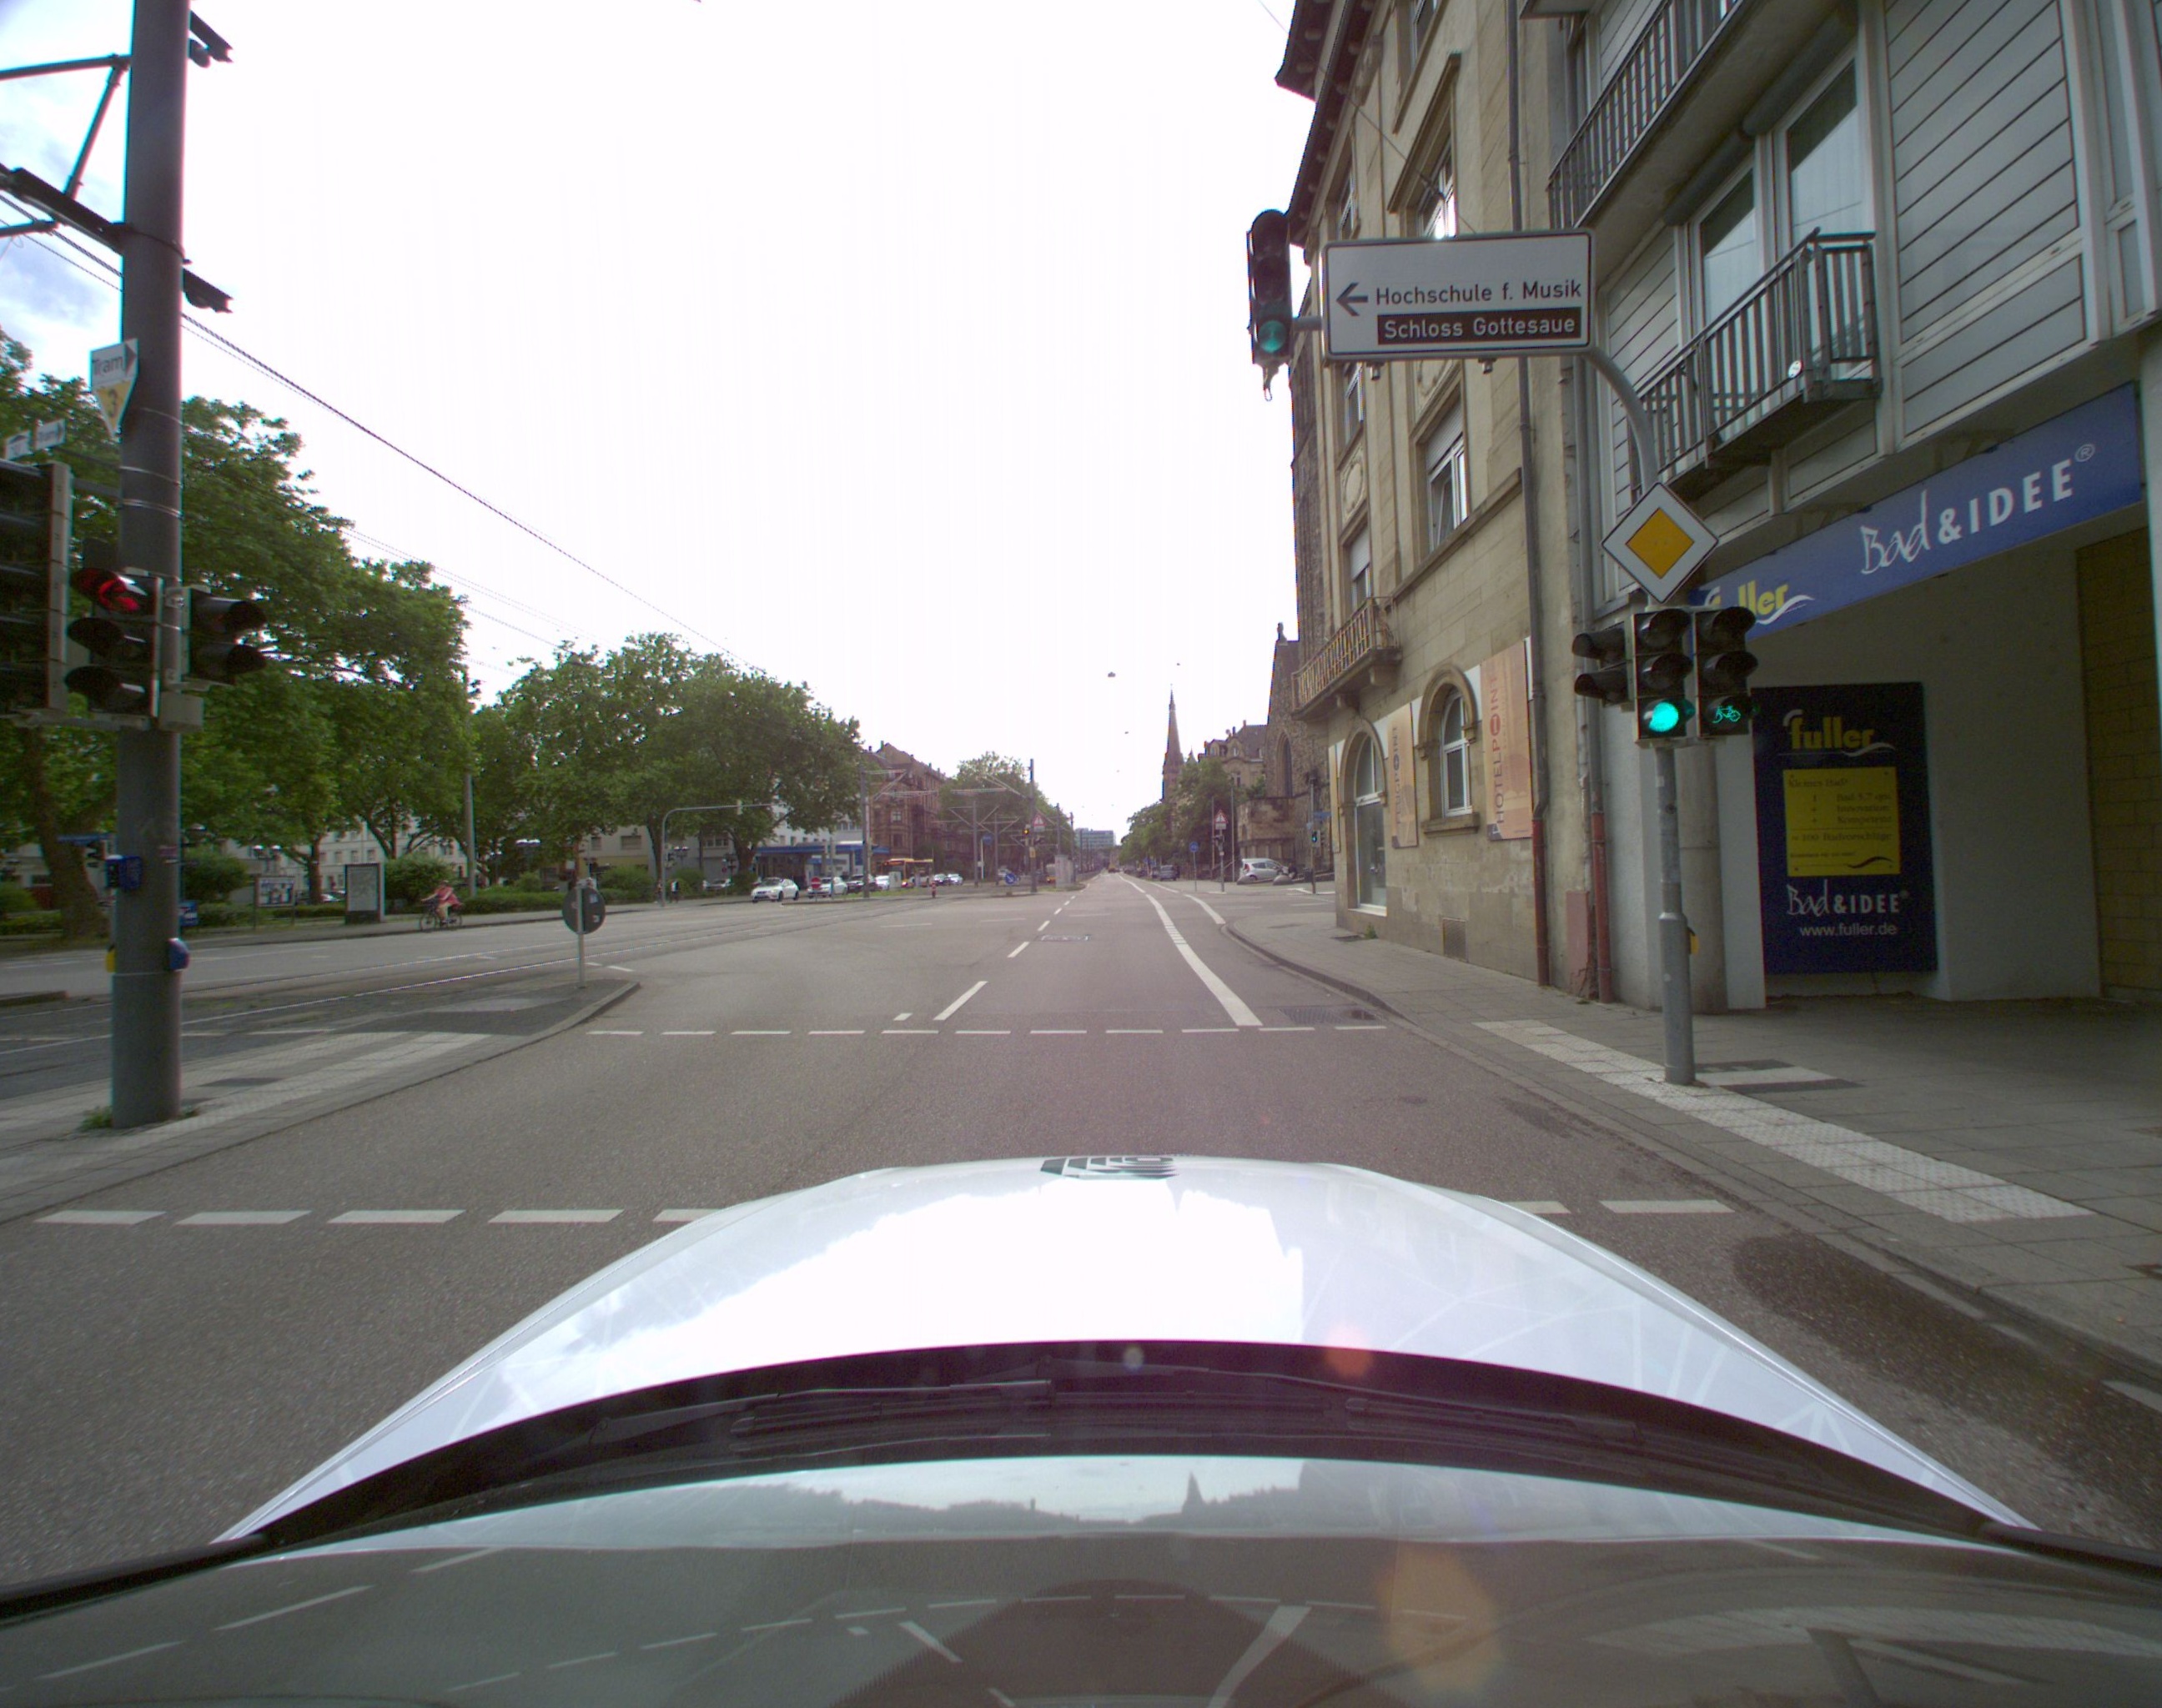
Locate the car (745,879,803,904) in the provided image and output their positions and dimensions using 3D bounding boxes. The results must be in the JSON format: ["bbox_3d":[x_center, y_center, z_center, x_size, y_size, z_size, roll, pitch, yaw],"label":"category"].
[{"bbox_3d":[-19.315,2.348,51.429,1.835,1.448,4.415,-1,-1,2],"label":"car"}]

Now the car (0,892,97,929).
[{"bbox_3d":[-64.827,3.495,50.292,4.825,2.101,2.073,-2,-1,-15],"label":"car"}]

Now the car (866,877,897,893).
[{"bbox_3d":[-18.268,2.816,74.559,1.695,1.398,3.893,-1,-1,3],"label":"car"}]

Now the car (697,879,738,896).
[{"bbox_3d":[-34.656,3.145,77.788,1.986,1.466,4.002,-2,-1,2],"label":"car"}]

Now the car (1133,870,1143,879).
[{"bbox_3d":[11.732,4.236,167.511,1.986,1.882,4.002,-2,-1,2],"label":"car"}]

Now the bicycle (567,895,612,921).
[{"bbox_3d":[-22.444,2.443,37.231,0.724,1.064,1.993,-4,-1,2],"label":"bicycle"}]

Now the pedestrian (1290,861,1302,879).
[{"bbox_3d":[14.888,1.120,56.372,0.731,1.228,1.067,-1,-1,17],"label":"pedestrian"}]

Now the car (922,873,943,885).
[{"bbox_3d":[-17.911,3.051,98.285,1.695,1.358,3.893,-1,-1,3],"label":"car"}]

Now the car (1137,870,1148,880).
[{"bbox_3d":[12.141,4.125,161.221,1.986,2.014,4.000,0,-1,1],"label":"car"}]

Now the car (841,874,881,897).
[{"bbox_3d":[-18.325,2.585,68.081,1.695,1.783,5.153,-1,-1,3],"label":"car"}]

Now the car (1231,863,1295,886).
[{"bbox_3d":[13.358,1.498,59.841,4.332,1.636,1.663,-1,-1,1],"label":"car"}]

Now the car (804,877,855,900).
[{"bbox_3d":[-18.627,2.518,60.574,1.834,1.526,5.705,-1,-1,2],"label":"car"}]

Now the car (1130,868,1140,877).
[{"bbox_3d":[12.289,4.146,186.086,1.986,2.014,4.000,0,-1,1],"label":"car"}]

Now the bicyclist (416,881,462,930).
[{"bbox_3d":[-22.324,1.774,28.343,0.703,1.637,0.994,-3,-1,1],"label":"bicyclist"}]

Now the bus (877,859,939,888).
[{"bbox_3d":[-17.862,1.982,85.171,3.268,2.856,12.387,-1,-1,3],"label":"bus"}]

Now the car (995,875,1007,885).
[{"bbox_3d":[-14.258,4.640,145.354,1.695,1.712,3.893,-1,-1,3],"label":"car"}]

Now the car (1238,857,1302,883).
[{"bbox_3d":[14.671,1.240,63.329,4.593,1.881,1.663,-1,-1,1],"label":"car"}]

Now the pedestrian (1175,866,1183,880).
[{"bbox_3d":[11.032,2.140,91.734,0.772,1.647,0.800,-1,-1,8],"label":"pedestrian"}]

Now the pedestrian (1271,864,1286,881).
[{"bbox_3d":[13.570,1.276,55.998,0.734,1.192,1.494,-1,-1,2],"label":"pedestrian"}]

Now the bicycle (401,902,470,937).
[{"bbox_3d":[-22.306,2.240,28.206,0.724,1.064,1.993,-4,-1,1],"label":"bicycle"}]

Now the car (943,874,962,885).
[{"bbox_3d":[-16.583,3.294,105.420,1.695,1.221,3.893,-1,-1,3],"label":"car"}]

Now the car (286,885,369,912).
[{"bbox_3d":[-65.445,3.821,70.814,4.825,2.101,2.073,-2,-1,-15],"label":"car"}]

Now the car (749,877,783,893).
[{"bbox_3d":[-29.491,2.879,76.289,1.695,1.358,3.406,-1,-1,3],"label":"car"}]

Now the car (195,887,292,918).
[{"bbox_3d":[-64.506,3.735,62.822,4.825,2.101,2.073,-2,-1,-15],"label":"car"}]

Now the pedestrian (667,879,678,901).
[{"bbox_3d":[-25.371,2.245,50.609,0.454,1.326,0.469,-2,-1,-5],"label":"pedestrian"}]

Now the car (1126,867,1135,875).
[{"bbox_3d":[12.926,4.556,213.382,1.986,2.014,4.000,0,-1,1],"label":"car"}]

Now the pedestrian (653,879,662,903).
[{"bbox_3d":[-26.204,2.298,50.421,0.360,1.479,0.373,-2,-1,-5],"label":"pedestrian"}]

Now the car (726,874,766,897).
[{"bbox_3d":[-31.870,2.979,77.545,1.986,2.014,4.002,-2,-1,2],"label":"car"}]

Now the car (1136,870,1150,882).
[{"bbox_3d":[9.986,3.512,131.308,1.986,1.820,4.002,-2,-1,2],"label":"car"}]
